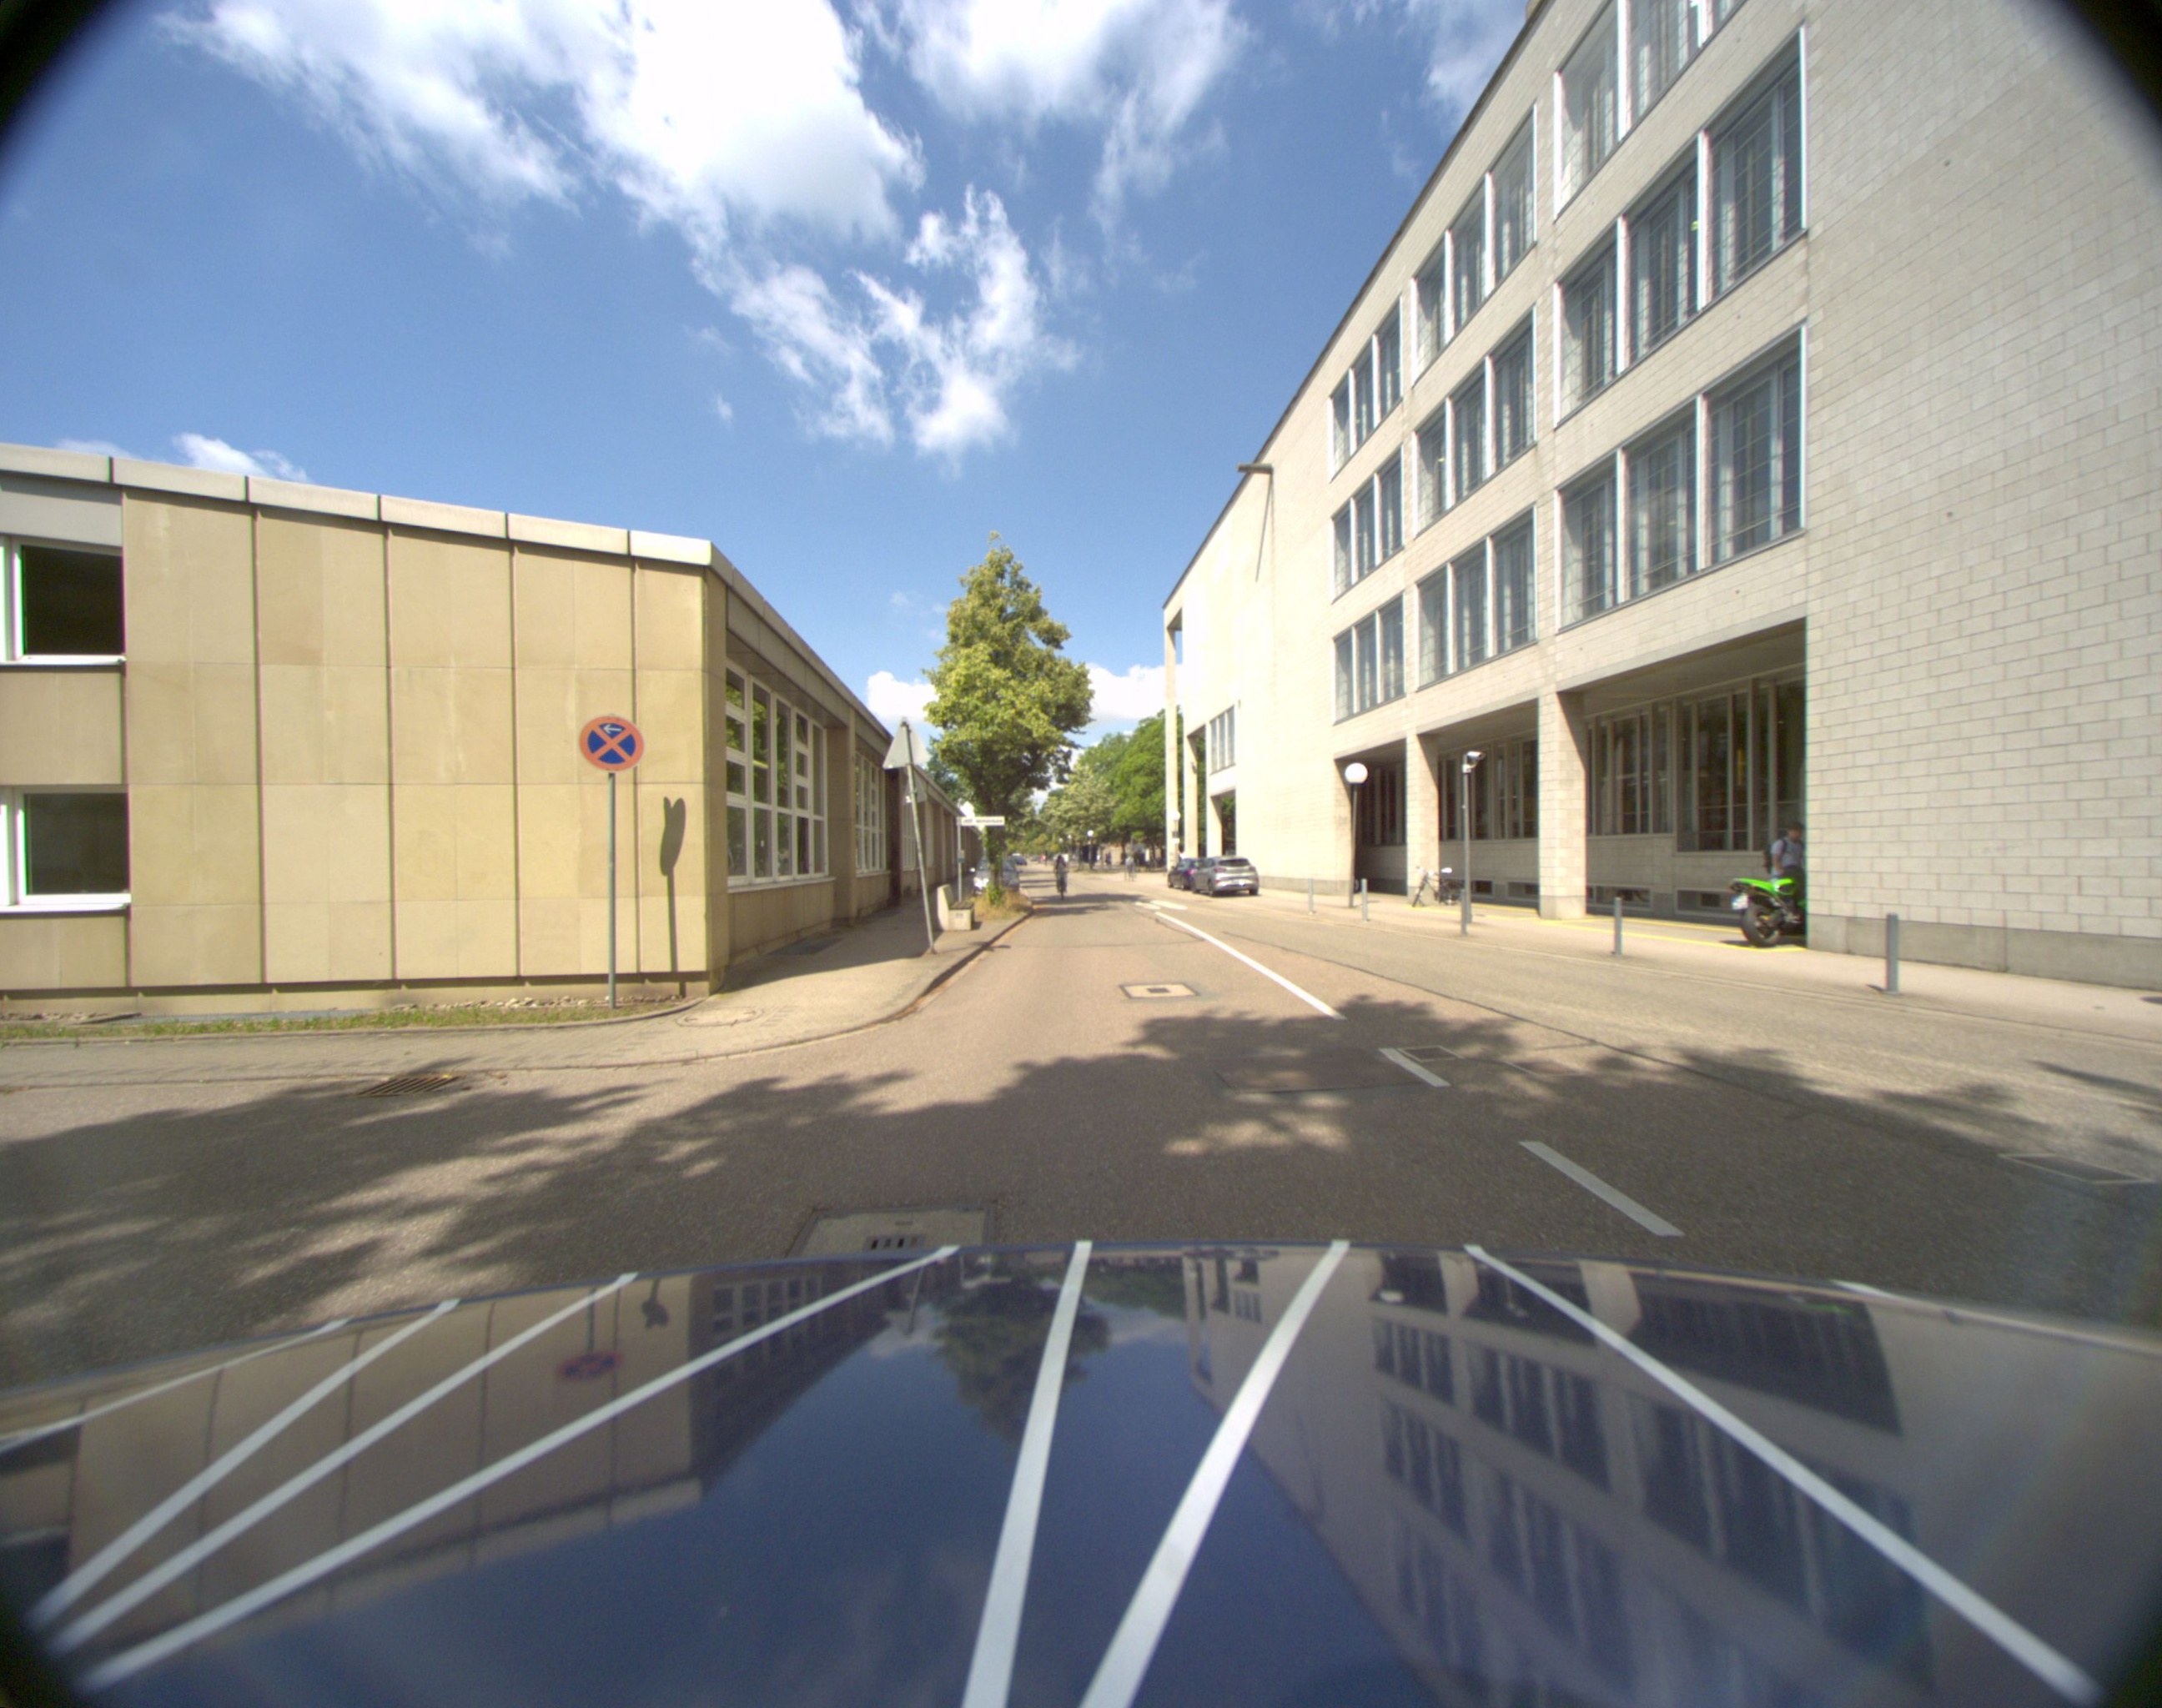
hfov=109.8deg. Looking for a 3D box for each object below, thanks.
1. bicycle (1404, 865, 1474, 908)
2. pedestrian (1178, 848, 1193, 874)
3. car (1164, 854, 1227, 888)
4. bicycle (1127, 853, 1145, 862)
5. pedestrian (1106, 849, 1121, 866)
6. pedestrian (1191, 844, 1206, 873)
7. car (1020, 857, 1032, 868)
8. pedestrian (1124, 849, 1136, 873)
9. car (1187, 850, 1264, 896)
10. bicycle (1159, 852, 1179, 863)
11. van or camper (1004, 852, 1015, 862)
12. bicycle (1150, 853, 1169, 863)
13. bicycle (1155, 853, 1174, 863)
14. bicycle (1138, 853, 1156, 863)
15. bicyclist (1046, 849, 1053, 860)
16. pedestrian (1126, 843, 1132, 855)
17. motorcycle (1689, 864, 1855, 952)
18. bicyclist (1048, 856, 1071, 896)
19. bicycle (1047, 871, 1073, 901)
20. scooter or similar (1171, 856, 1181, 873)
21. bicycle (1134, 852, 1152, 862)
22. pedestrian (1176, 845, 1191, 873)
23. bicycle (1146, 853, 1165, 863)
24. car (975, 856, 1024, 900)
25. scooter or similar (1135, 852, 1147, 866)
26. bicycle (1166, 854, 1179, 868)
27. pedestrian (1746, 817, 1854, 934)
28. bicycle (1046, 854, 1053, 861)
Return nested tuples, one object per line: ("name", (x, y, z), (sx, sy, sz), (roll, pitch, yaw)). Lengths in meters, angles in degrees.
("bicycle", (9.626, 0.856, 20.442), (1.644, 1.080, 0.607), (-2, 1, -11))
("pedestrian", (7.325, 0.490, 53.137), (0.755, 1.770, 1.080), (-2, 1, -6))
("car", (5.131, 0.717, 34.617), (1.731, 1.414, 4.662), (-2, 0, -5))
("bicycle", (6.418, 0.410, 88.406), (2.128, 1.052, 0.621), (-2, 1, -35))
("pedestrian", (3.508, 0.366, 81.586), (1.400, 1.814, 1.368), (-2, 1, -6))
("pedestrian", (8.277, 0.332, 53.461), (0.755, 2.002, 1.080), (-2, 1, -6))
("car", (-9.554, 1.497, 130.849), (1.999, 1.805, 3.998), (-1, 0, -4))
("pedestrian", (3.736, 0.512, 57.405), (0.761, 1.715, 1.235), (-4, 1, 5))
("car", (5.513, 0.655, 29.513), (1.731, 1.526, 4.403), (-3, 1, -5))
("bicycle", (9.633, 0.398, 83.170), (2.128, 1.151, 0.751), (-2, 1, -35))
("van or camper", (-17.281, 0.776, 183.863), (1.998, 2.348, 4.383), (-1, 0, 1))
("bicycle", (8.759, 0.460, 84.400), (2.128, 1.100, 0.681), (-2, 1, -35))
("bicycle", (9.201, 0.454, 83.794), (2.128, 1.100, 0.681), (-2, 1, -35))
("bicycle", (7.529, 0.496, 86.632), (2.128, 1.052, 0.681), (-2, 1, -35))
("bicyclist", (-5.206, 0.049, 126.277), (1.053, 1.690, 1.281), (-2, 1, -5))
("pedestrian", (6.581, -0.683, 104.535), (0.678, 1.661, 0.814), (-2, 1, 0))
("motorcycle", (10.209, 0.757, 11.235), (2.174, 1.131, 0.774), (-2, 1, -16))
("bicyclist", (-0.809, 0.806, 28.440), (0.781, 1.478, 0.695), (-1, 1, -7))
("bicycle", (-0.810, 1.186, 28.468), (0.781, 1.042, 1.911), (-1, 0, -7))
("scooter or similar", (6.459, 0.708, 51.619), (0.318, 1.138, 1.312), (-2, 1, -6))
("bicycle", (7.121, 0.352, 87.218), (2.128, 1.052, 0.621), (-2, 1, -35))
("pedestrian", (7.298, 0.352, 54.281), (0.755, 2.002, 1.080), (-2, 1, -6))
("bicycle", (8.347, 0.486, 85.334), (2.128, 1.052, 0.681), (-2, 1, -35))
("car", (-3.148, 0.883, 29.372), (1.761, 1.559, 3.815), (0, 0, -6))
("scooter or similar", (5.301, 0.413, 67.185), (0.713, 1.184, 1.616), (-1, 2, 16))
("bicycle", (7.450, 0.534, 62.118), (0.509, 1.100, 1.999), (-2, 0, -10))
("pedestrian", (11.741, 0.337, 12.440), (0.779, 1.828, 1.013), (-2, 1, -6))
("bicycle", (-5.177, 0.536, 126.223), (1.012, 1.169, 3.392), (-2, 1, -5))
